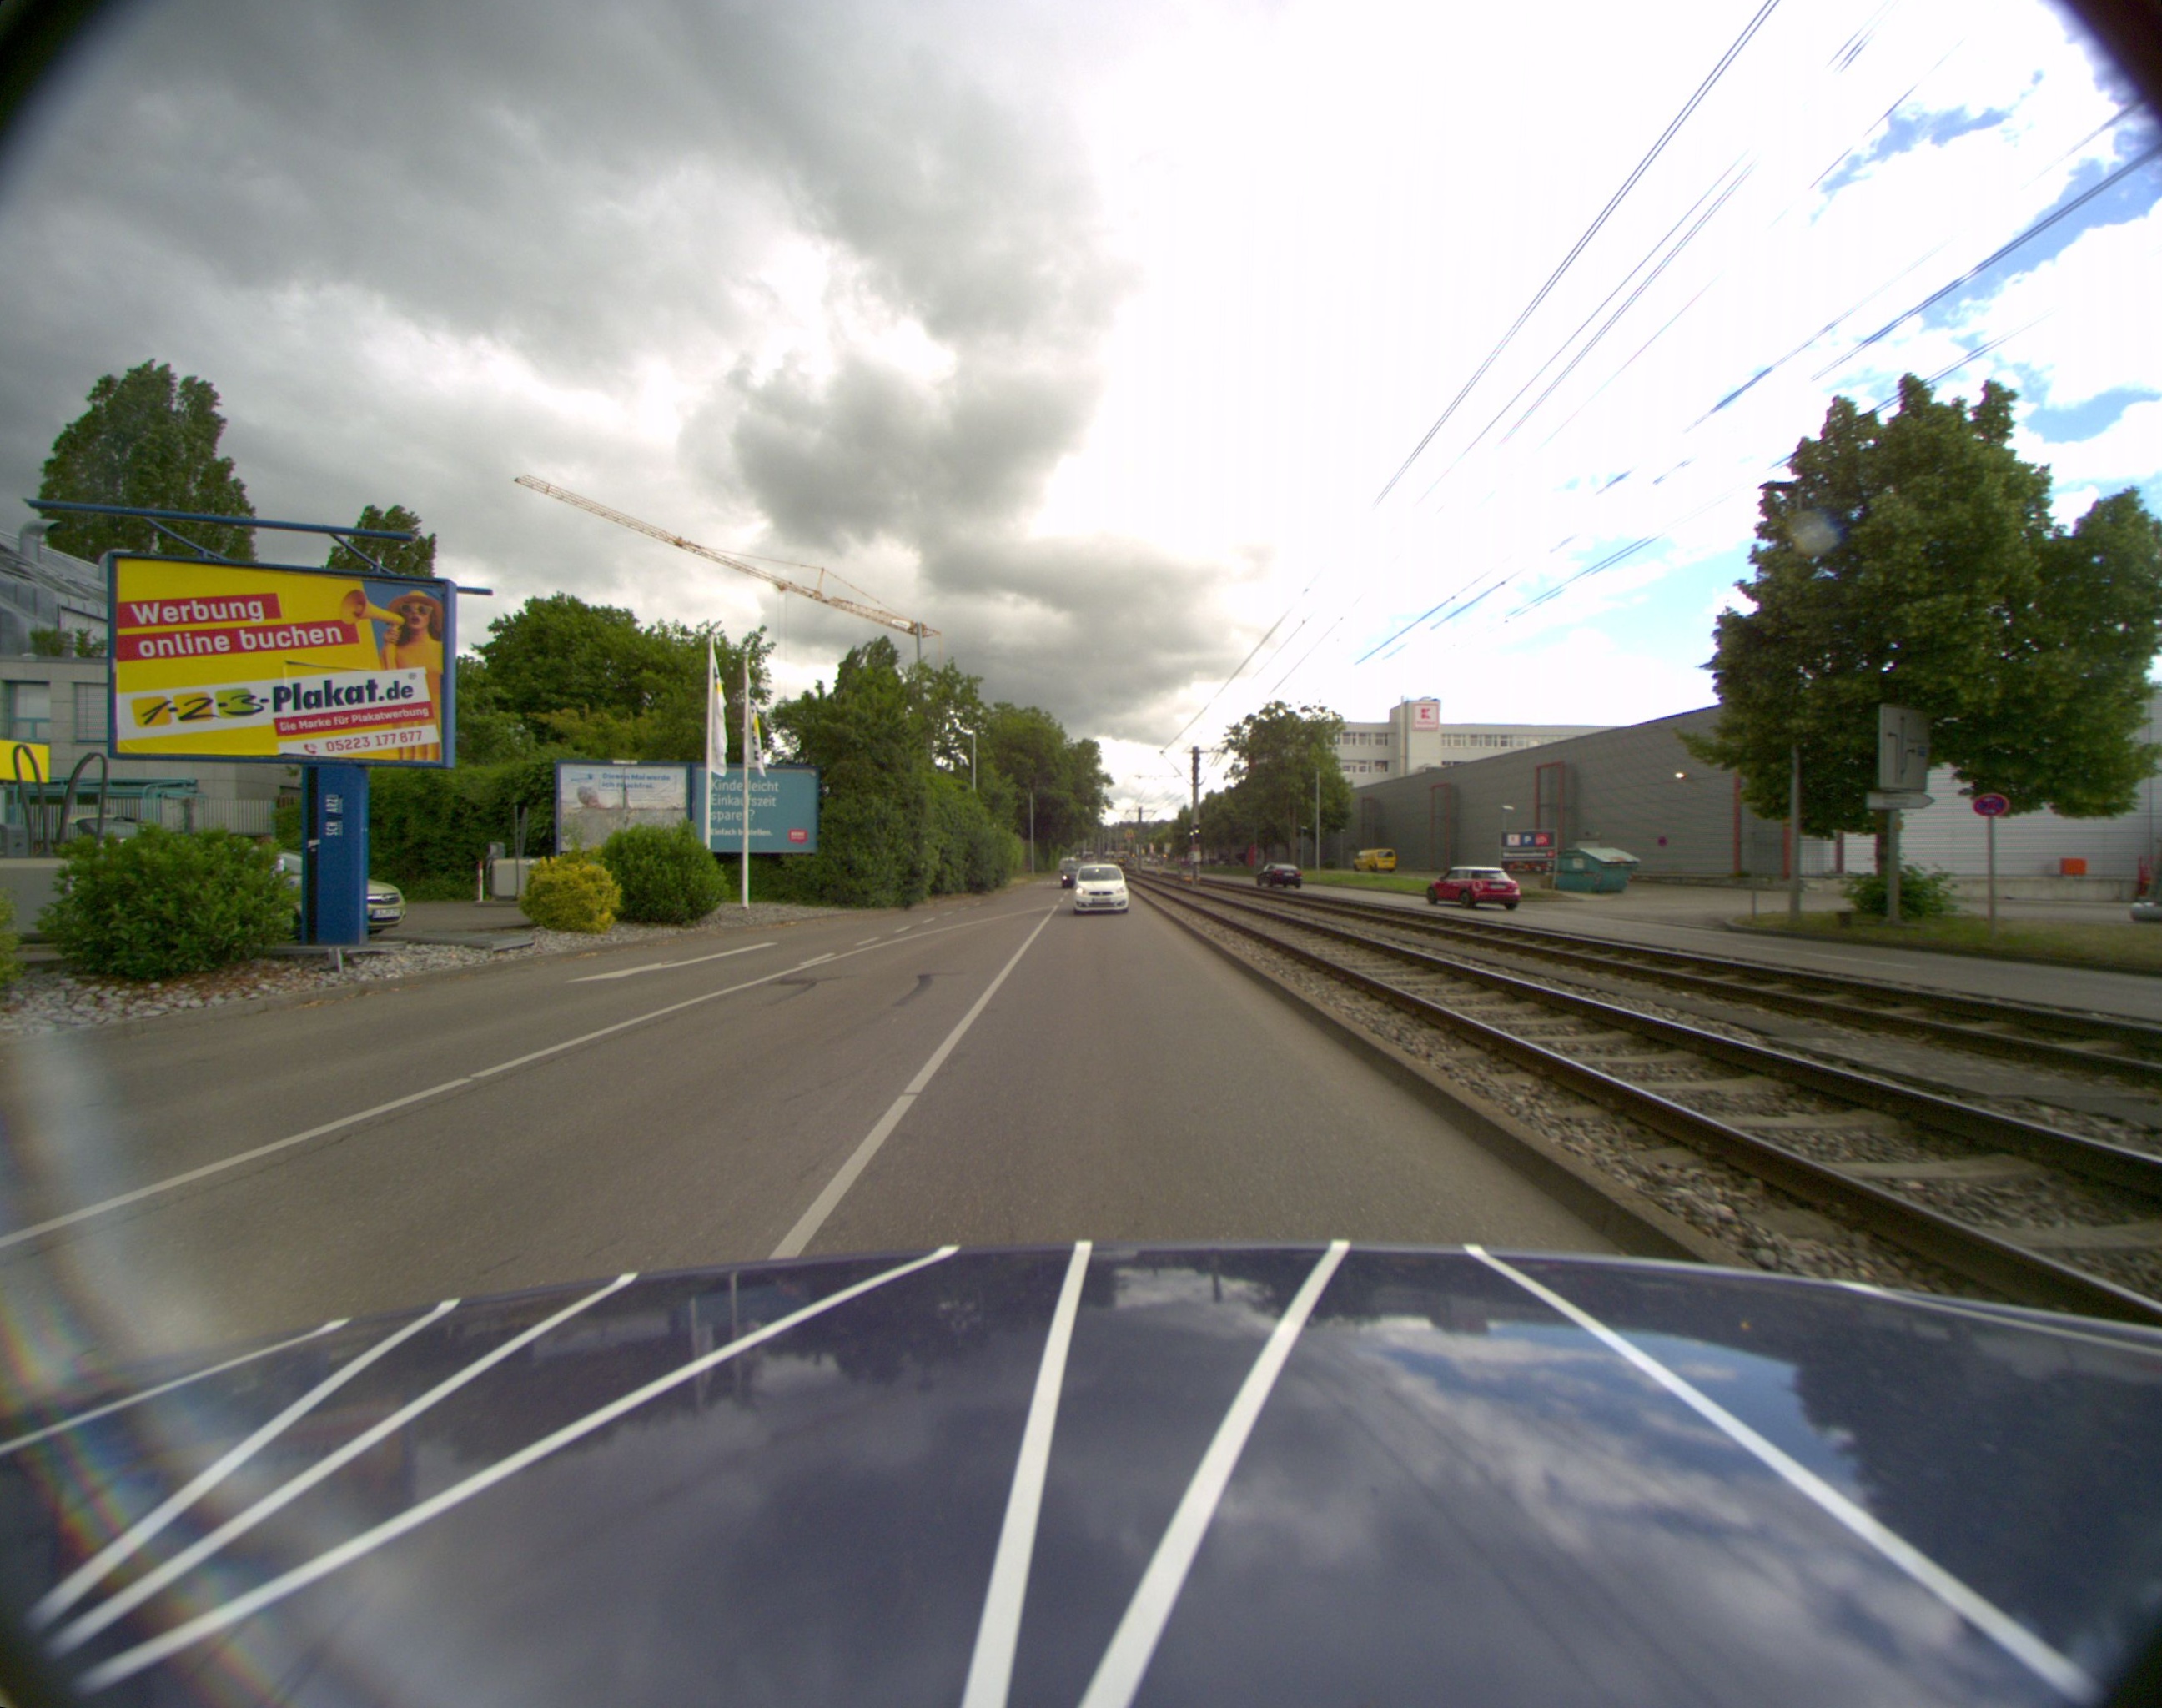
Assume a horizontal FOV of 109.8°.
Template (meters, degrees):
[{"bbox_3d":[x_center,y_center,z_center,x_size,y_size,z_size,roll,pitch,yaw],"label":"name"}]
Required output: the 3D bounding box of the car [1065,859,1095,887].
[{"bbox_3d":[-0.013,1.108,46.314,1.714,1.586,4.000,-1,0,1],"label":"car"}]

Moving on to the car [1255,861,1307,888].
[{"bbox_3d":[11.391,1.130,43.617,1.763,1.393,4.443,2,0,0],"label":"car"}]

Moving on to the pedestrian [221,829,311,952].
[{"bbox_3d":[-11.401,0.498,10.644,0.633,1.661,0.585,0,0,-9],"label":"pedestrian"}]

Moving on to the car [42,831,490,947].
[{"bbox_3d":[-12.802,0.508,12.398,4.029,1.646,2.944,0,0,-6],"label":"car"}]

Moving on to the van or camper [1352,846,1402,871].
[{"bbox_3d":[25.205,0.404,64.927,2.109,2.002,5.241,-1,0,-2],"label":"van or camper"}]

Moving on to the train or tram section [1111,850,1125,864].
[{"bbox_3d":[9.953,0.870,204.185,2.778,3.753,13.786,-1,0,-1],"label":"train or tram section"}]

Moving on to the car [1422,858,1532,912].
[{"bbox_3d":[13.904,1.027,26.946,1.797,1.761,4.000,0,0,-1],"label":"car"}]

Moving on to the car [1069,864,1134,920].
[{"bbox_3d":[0.588,1.091,23.112,1.764,1.469,4.031,-2,0,0],"label":"car"}]
